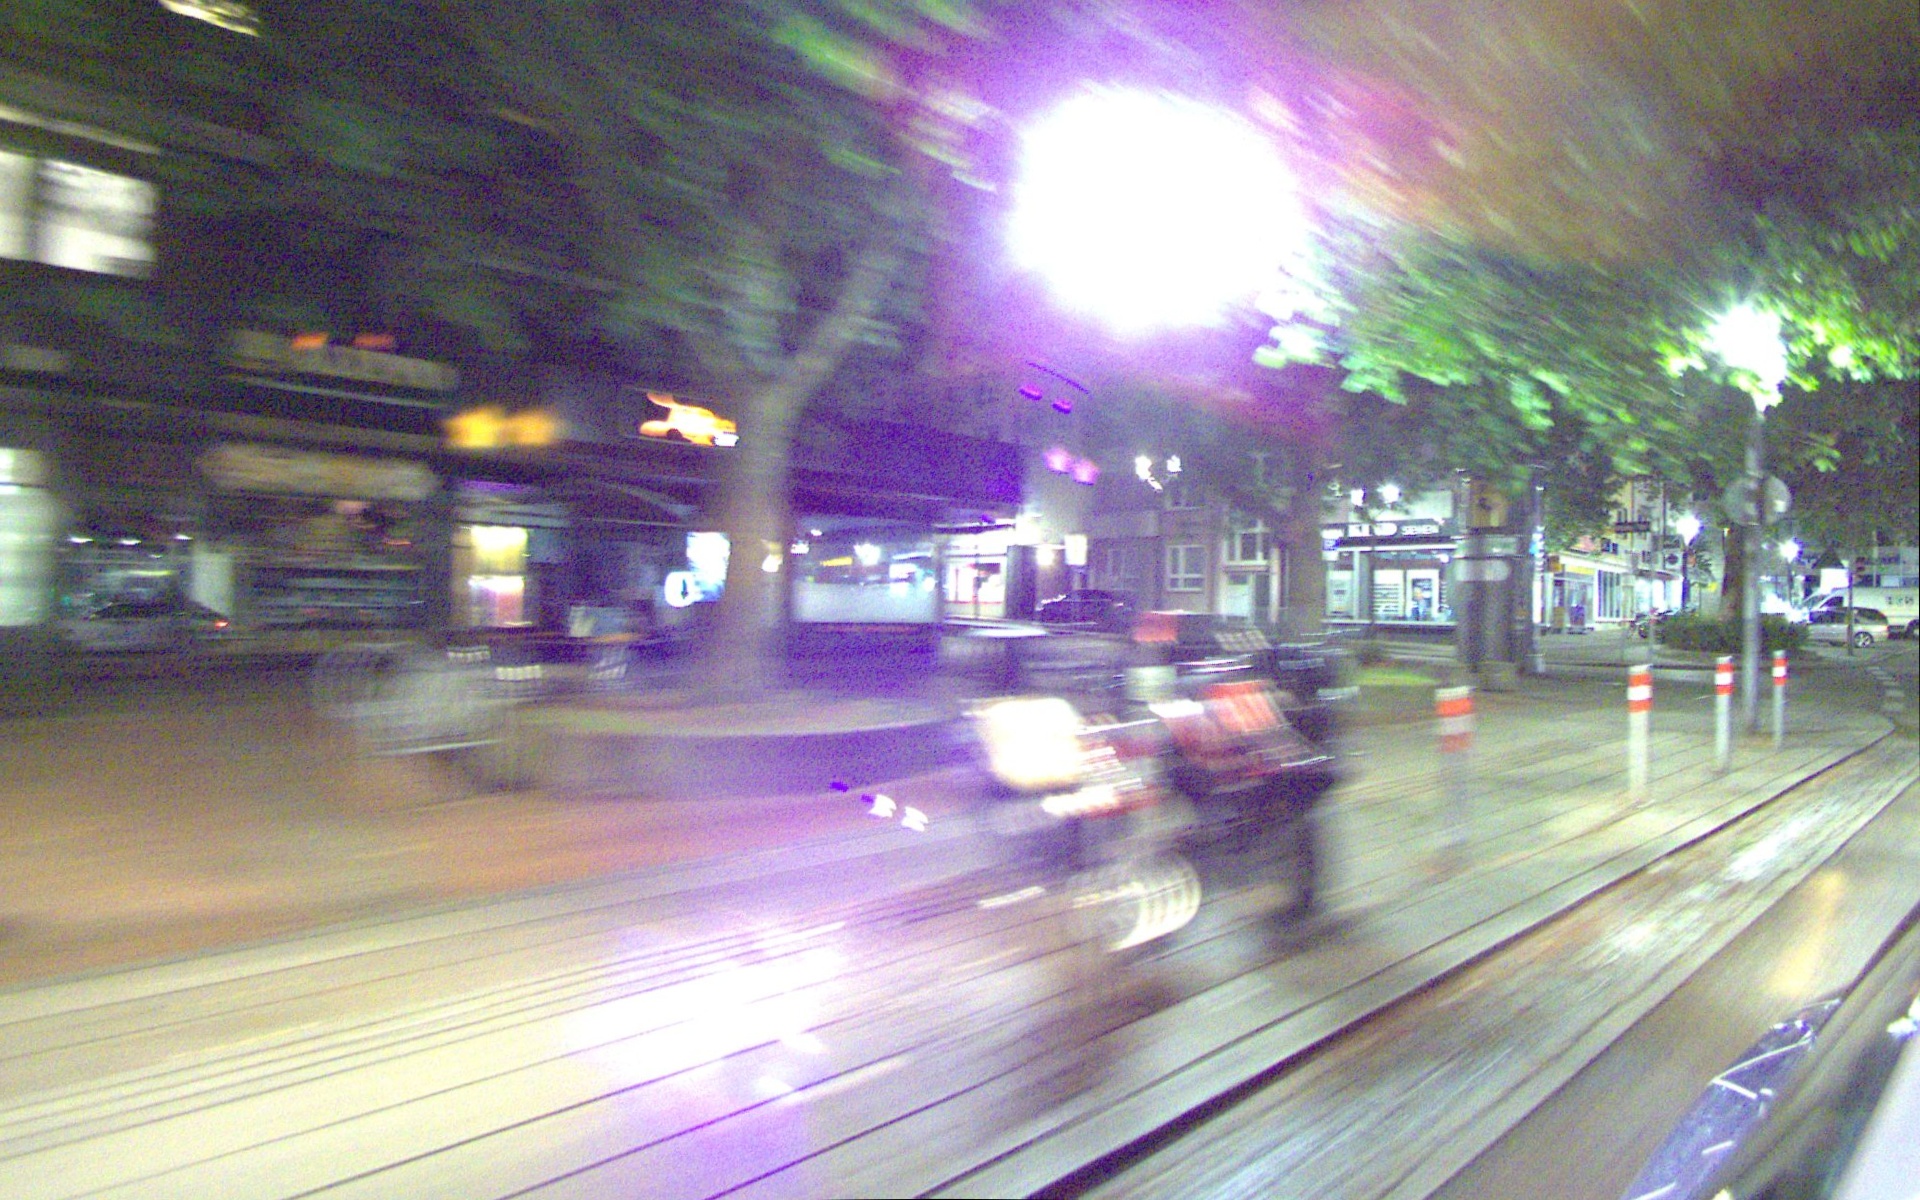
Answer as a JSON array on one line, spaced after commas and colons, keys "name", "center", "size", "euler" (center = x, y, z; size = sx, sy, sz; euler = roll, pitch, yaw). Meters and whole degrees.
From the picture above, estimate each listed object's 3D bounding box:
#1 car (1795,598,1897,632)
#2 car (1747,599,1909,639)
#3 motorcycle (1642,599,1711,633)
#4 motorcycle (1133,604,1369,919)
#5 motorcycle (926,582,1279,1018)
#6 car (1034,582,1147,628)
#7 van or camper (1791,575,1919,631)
[{"name": "car", "center": [41.055, 0.684, 46.987], "size": [3.141, 1.474, 1.683], "euler": [1, 0, 22]}, {"name": "car", "center": [33.642, 0.711, 39.339], "size": [4.479, 1.474, 1.630], "euler": [1, 0, 14]}, {"name": "motorcycle", "center": [27.747, 0.618, 39.185], "size": [2.183, 1.287, 0.531], "euler": [1, 0, 6]}, {"name": "motorcycle", "center": [1.447, 0.705, 5.466], "size": [0.505, 1.313, 2.172], "euler": [1, 1, -4]}, {"name": "motorcycle", "center": [0.454, 0.636, 4.478], "size": [0.647, 1.408, 2.276], "euler": [1, 1, -16]}, {"name": "car", "center": [4.955, 0.180, 38.742], "size": [1.868, 1.609, 3.993], "euler": [2, 0, -42]}, {"name": "van or camper", "center": [43.866, 0.143, 48.356], "size": [5.972, 2.565, 2.150], "euler": [1, 0, 18]}]
